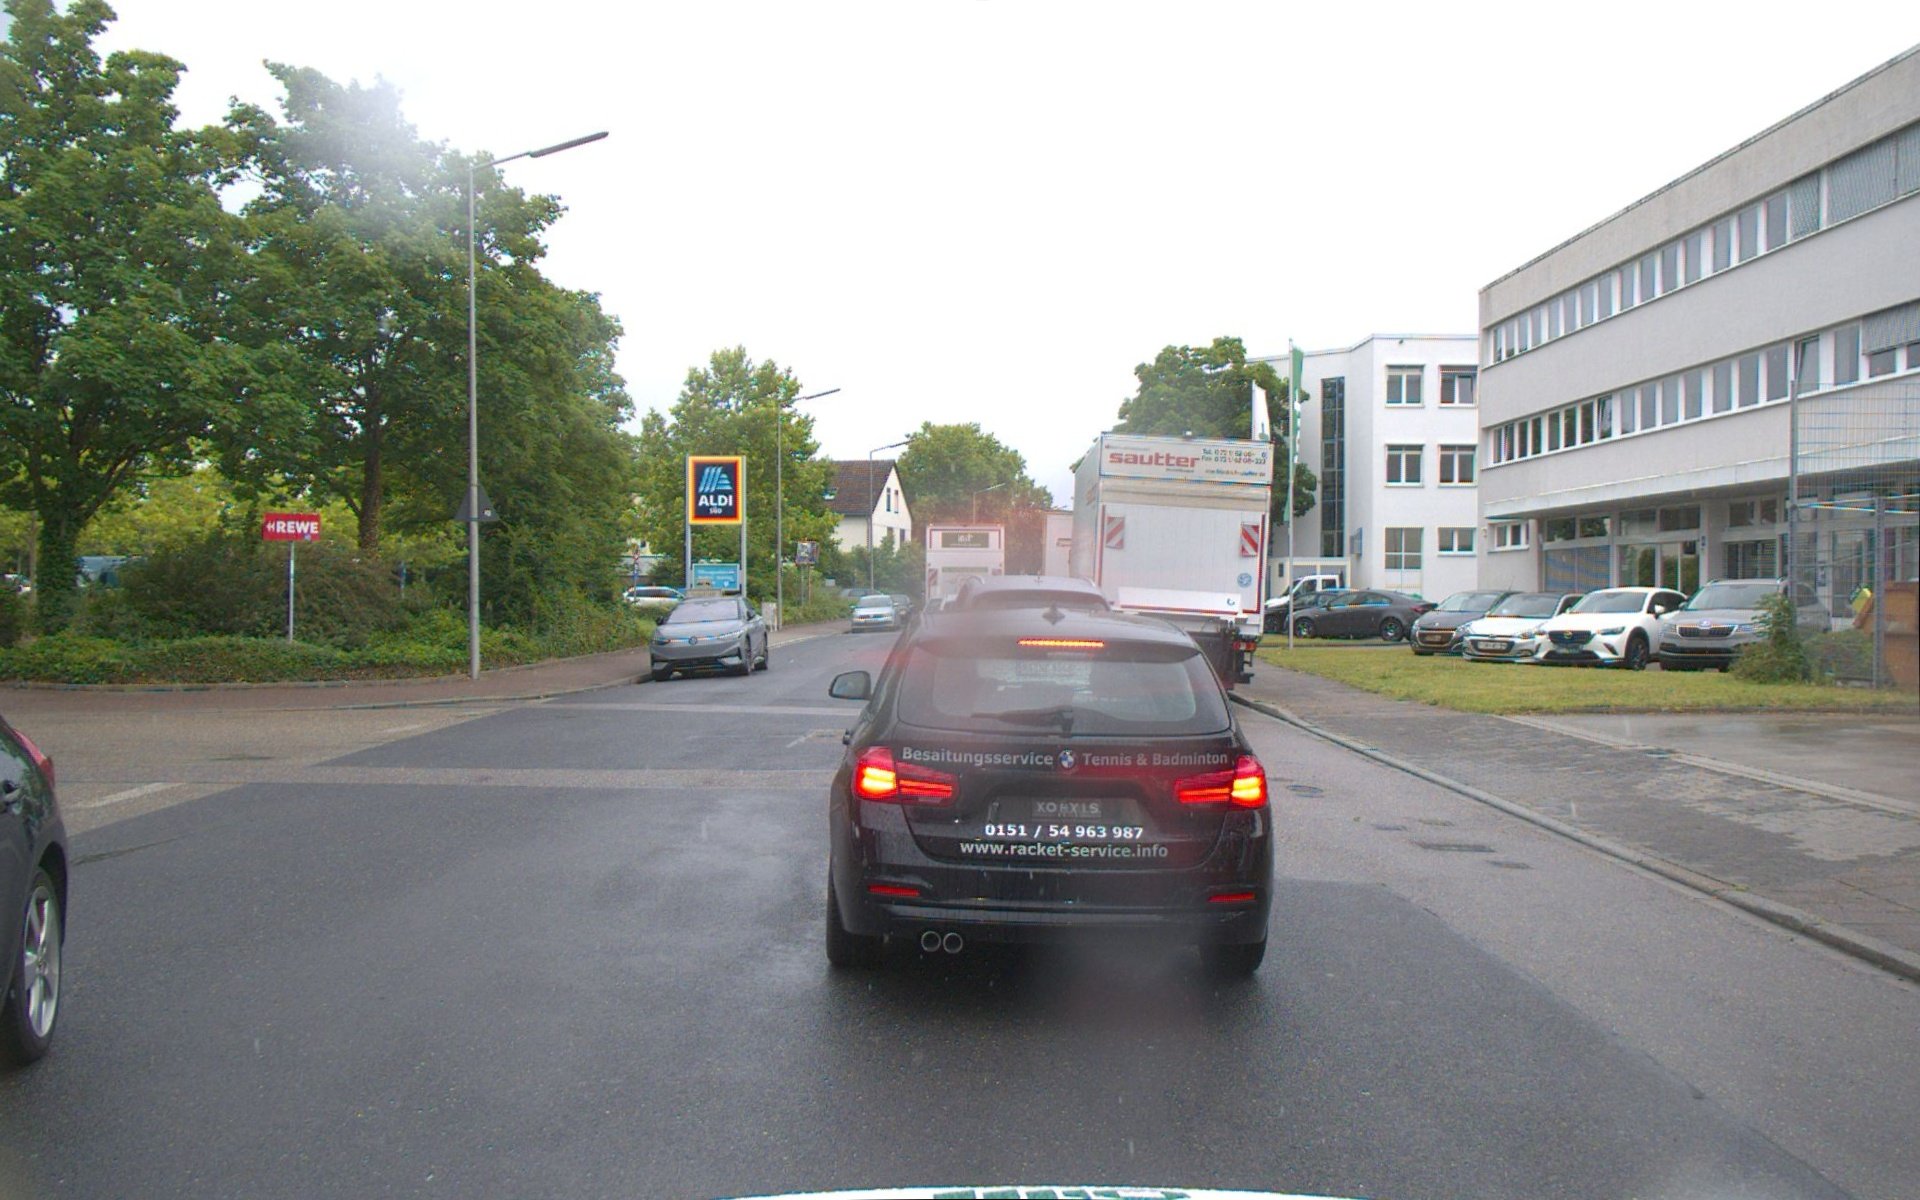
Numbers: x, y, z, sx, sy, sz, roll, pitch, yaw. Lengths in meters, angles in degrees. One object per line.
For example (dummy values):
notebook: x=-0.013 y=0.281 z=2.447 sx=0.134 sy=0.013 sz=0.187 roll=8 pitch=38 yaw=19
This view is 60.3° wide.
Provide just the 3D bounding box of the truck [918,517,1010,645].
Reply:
truck: x=0.030 y=-0.688 z=47.909 sx=2.294 sy=3.312 sz=7.750 roll=3 pitch=3 yaw=-1

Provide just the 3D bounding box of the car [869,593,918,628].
car: x=-2.857 y=0.419 z=72.030 sx=1.670 sy=1.391 sz=3.840 roll=-2 pitch=0 yaw=4

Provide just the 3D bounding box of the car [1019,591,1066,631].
car: x=3.327 y=0.414 z=67.113 sx=1.865 sy=1.567 sz=4.001 roll=0 pitch=0 yaw=2

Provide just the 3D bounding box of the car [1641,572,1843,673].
car: x=13.102 y=0.333 z=27.612 sx=1.842 sy=1.554 sz=3.971 roll=0 pitch=1 yaw=45

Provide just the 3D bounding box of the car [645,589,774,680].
car: x=-4.856 y=0.630 z=32.689 sx=1.772 sy=1.555 sz=4.747 roll=-4 pitch=0 yaw=0

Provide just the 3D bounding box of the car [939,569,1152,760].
car: x=0.712 y=0.556 z=16.214 sx=1.768 sy=1.614 sz=3.999 roll=1 pitch=0 yaw=-2

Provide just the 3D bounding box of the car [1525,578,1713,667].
car: x=11.932 y=0.369 z=29.854 sx=3.970 sy=1.496 sz=1.746 roll=0 pitch=1 yaw=-45

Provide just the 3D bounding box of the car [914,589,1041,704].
car: x=0.194 y=0.657 z=25.172 sx=1.768 sy=1.579 sz=3.999 roll=1 pitch=0 yaw=-2

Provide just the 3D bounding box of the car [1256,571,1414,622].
car: x=16.131 y=-0.133 z=71.220 sx=6.326 sy=2.049 sz=1.998 roll=1 pitch=0 yaw=-4

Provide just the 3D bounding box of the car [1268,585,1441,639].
car: x=11.399 y=0.323 z=47.900 sx=4.587 sy=1.493 sz=1.783 roll=0 pitch=0 yaw=39

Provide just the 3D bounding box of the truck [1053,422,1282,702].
truck: x=3.207 y=-0.570 z=28.122 sx=2.685 sy=3.855 sz=9.300 roll=3 pitch=0 yaw=1

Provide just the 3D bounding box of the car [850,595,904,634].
car: x=-3.269 y=0.538 z=65.837 sx=1.670 sy=1.391 sz=4.603 roll=-2 pitch=0 yaw=2

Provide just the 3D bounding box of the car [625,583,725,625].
car: x=-11.045 y=0.161 z=64.180 sx=3.495 sy=1.485 sz=1.713 roll=2 pitch=0 yaw=2

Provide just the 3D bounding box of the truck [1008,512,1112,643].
truck: x=3.001 y=-0.665 z=51.637 sx=2.685 sy=3.674 sz=7.750 roll=2 pitch=0 yaw=0

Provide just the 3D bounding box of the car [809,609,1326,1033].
car: x=0.325 y=0.774 z=7.690 sx=1.768 sy=1.419 sz=3.999 roll=1 pitch=0 yaw=-2

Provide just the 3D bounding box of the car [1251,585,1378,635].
car: x=11.650 y=0.303 z=54.490 sx=3.712 sy=1.420 sz=1.718 roll=4 pitch=3 yaw=41

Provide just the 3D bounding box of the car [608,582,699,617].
car: x=-14.328 y=-0.031 z=77.450 sx=3.904 sy=1.567 sz=1.911 roll=0 pitch=0 yaw=1

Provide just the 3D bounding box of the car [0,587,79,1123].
car: x=-3.198 y=0.717 z=3.556 sx=1.705 sy=1.466 sz=3.977 roll=-1 pitch=1 yaw=-20

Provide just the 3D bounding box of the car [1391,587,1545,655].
car: x=11.147 y=0.416 z=36.160 sx=3.740 sy=1.417 sz=1.679 roll=0 pitch=1 yaw=-45

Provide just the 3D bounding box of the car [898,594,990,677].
car: x=-0.355 y=0.689 z=34.016 sx=1.768 sy=1.579 sz=3.999 roll=1 pitch=0 yaw=-2

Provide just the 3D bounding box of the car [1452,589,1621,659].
car: x=11.605 y=0.439 z=33.177 sx=3.970 sy=1.309 sz=1.679 roll=0 pitch=1 yaw=-45
